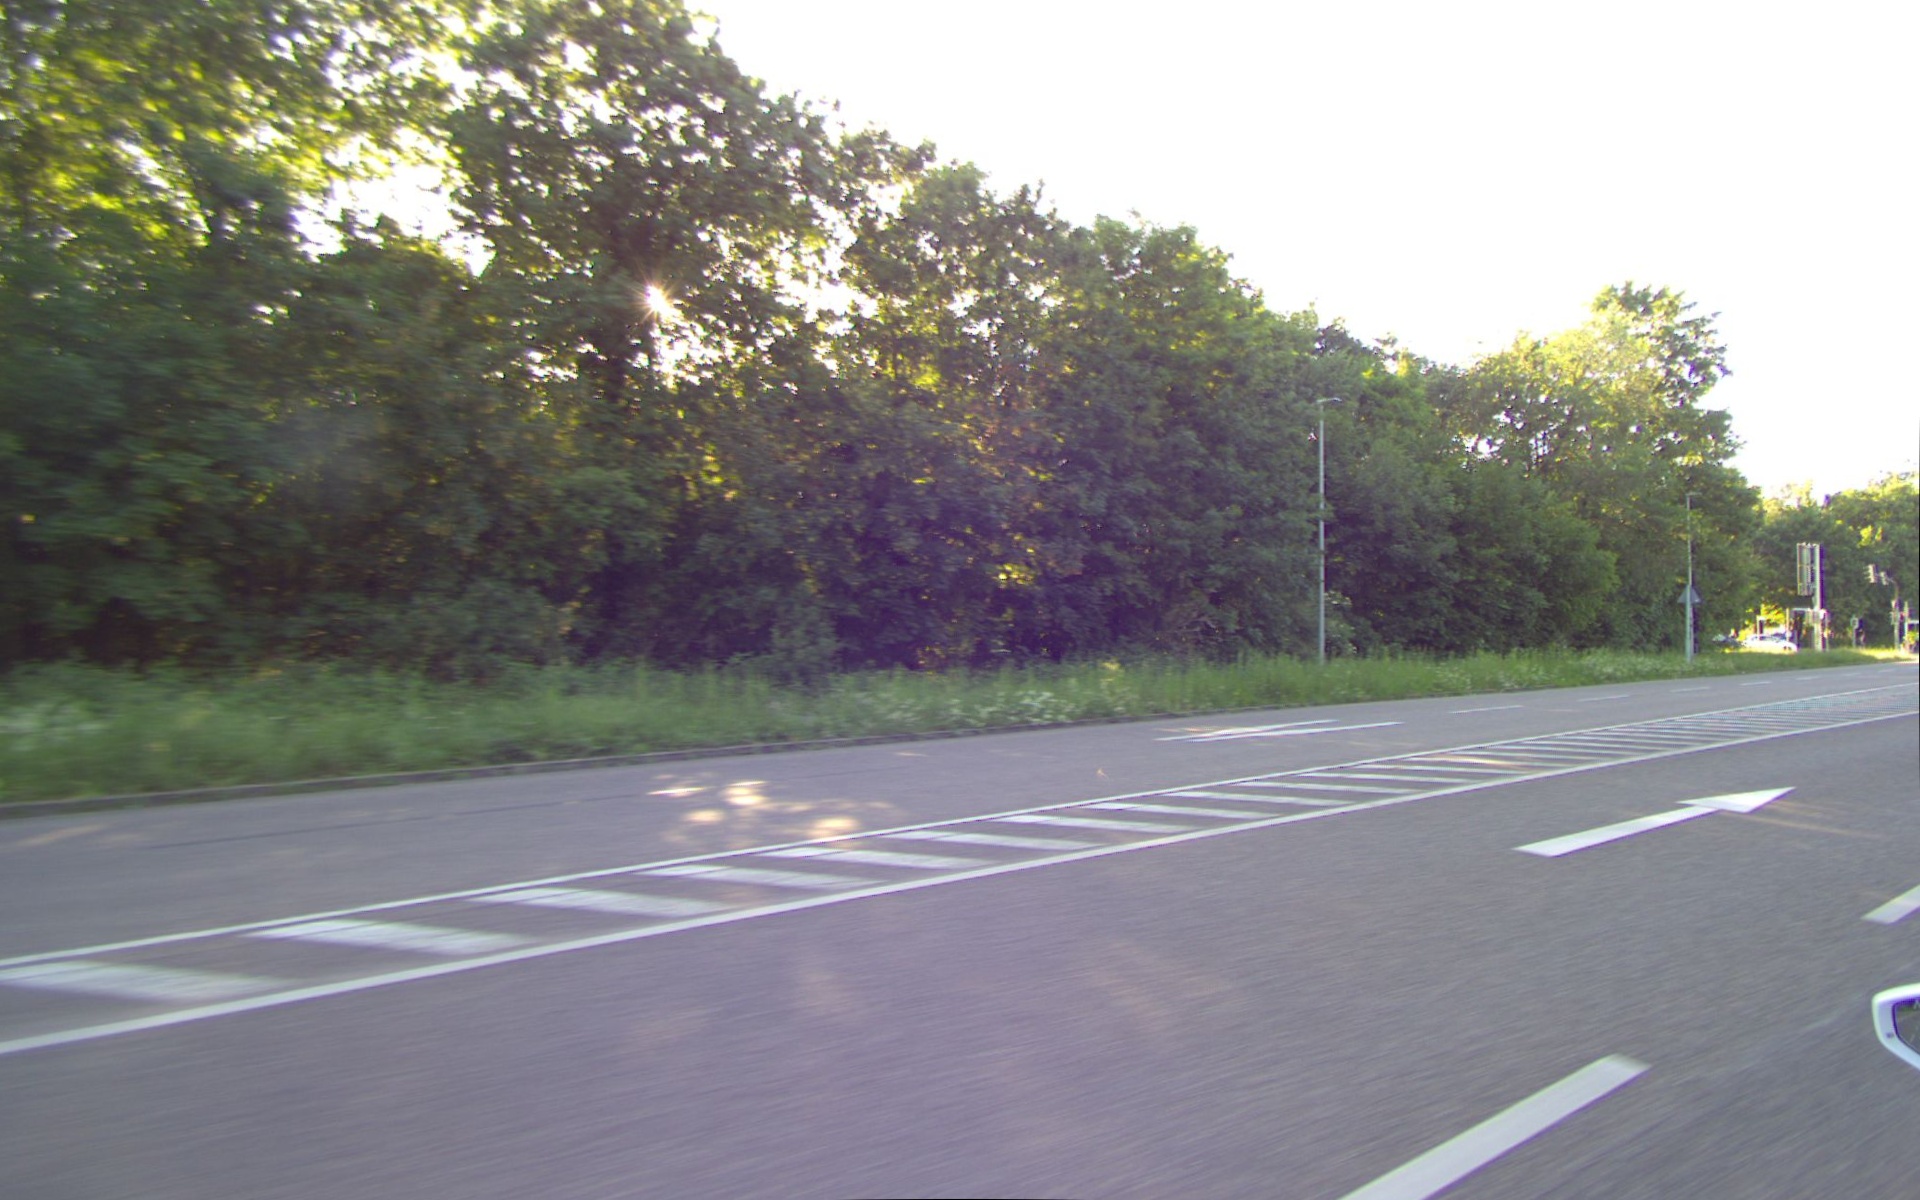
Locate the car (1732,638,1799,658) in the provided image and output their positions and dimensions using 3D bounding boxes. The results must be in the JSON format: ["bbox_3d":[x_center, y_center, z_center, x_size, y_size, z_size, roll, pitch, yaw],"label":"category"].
[{"bbox_3d":[62.021,3.682,77.384,3.732,1.407,1.925,-1,-2,30],"label":"car"}]

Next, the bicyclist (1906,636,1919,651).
[{"bbox_3d":[78.181,3.595,82.352,0.979,1.208,0.711,1,-2,-32],"label":"bicyclist"}]

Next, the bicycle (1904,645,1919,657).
[{"bbox_3d":[78.180,4.195,82.335,1.889,0.926,0.711,0,-1,-32],"label":"bicycle"}]
